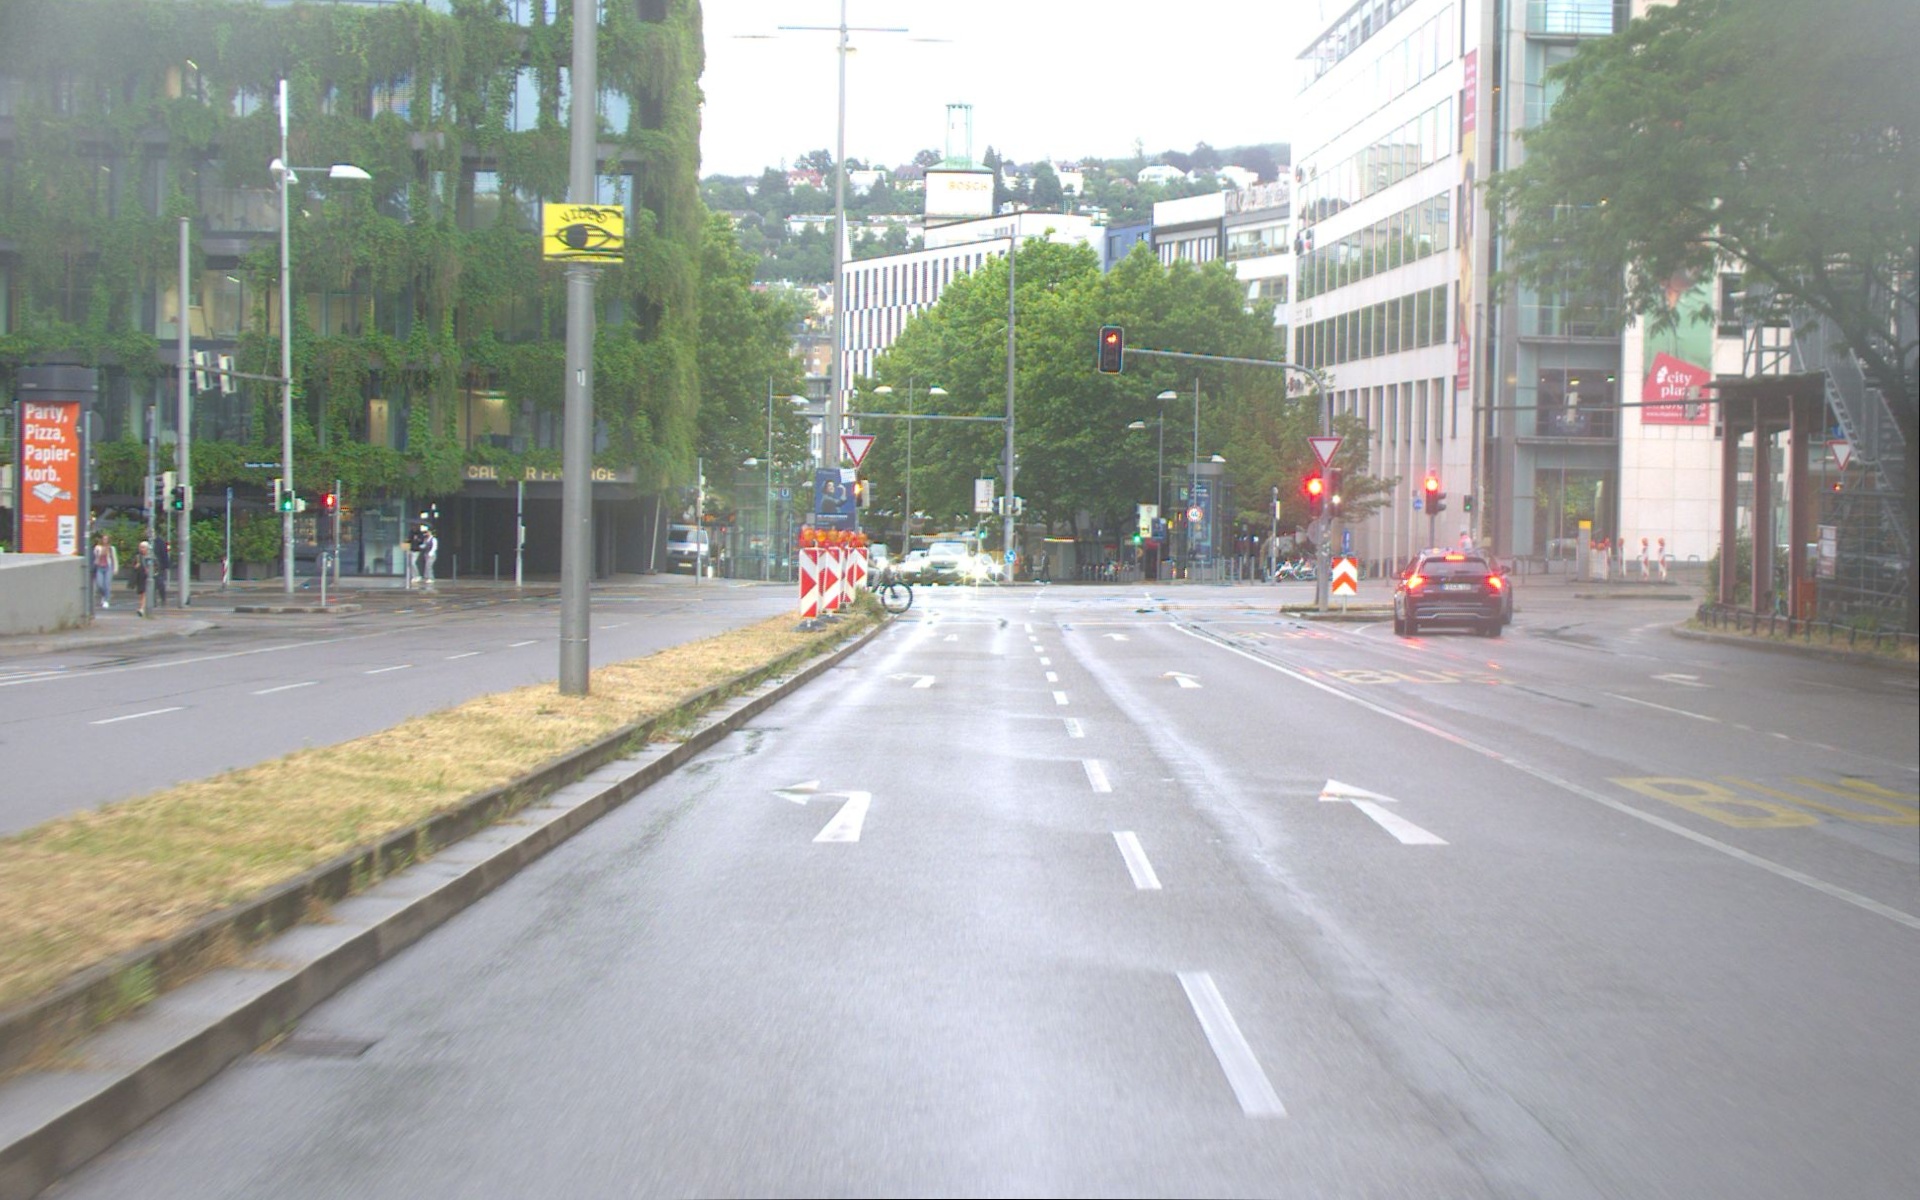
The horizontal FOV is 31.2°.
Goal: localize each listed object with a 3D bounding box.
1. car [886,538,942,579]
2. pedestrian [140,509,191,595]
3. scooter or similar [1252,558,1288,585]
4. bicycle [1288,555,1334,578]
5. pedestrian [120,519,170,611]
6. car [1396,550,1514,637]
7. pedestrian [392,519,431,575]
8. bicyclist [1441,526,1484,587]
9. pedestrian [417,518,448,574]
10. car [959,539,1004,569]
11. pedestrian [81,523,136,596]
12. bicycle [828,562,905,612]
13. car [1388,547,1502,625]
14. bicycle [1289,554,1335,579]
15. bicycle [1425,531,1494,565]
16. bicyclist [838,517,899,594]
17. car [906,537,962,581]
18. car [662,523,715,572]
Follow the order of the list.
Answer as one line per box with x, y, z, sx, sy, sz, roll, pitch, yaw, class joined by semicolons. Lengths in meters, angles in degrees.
-2.106;-1.912;156.240;2.175;1.817;4.645;0;1;-5;car
-17.975;-1.086;77.772;0.895;1.879;0.787;-4;1;-3;pedestrian
11.439;-1.051;126.958;0.556;1.003;1.824;0;1;-23;scooter or similar
14.027;-1.337;137.318;1.795;0.931;0.475;0;1;4;bicycle
-17.156;-0.748;72.361;0.805;1.879;0.866;-4;1;-5;pedestrian
9.096;-0.142;63.475;1.778;1.534;4.146;1;1;3;car
-17.173;-1.666;107.607;0.935;1.752;1.172;0;1;-23;pedestrian
16.403;-1.410;112.199;0.791;1.968;1.114;0;1;-39;bicyclist
-16.545;-1.685;107.746;0.741;1.752;0.976;0;1;-23;pedestrian
1.028;-2.243;166.355;1.993;1.439;4.556;0;1;-2;car
-19.266;-0.927;77.803;0.831;1.580;0.923;-3;1;6;pedestrian
-2.073;-0.301;76.863;0.846;1.099;2.150;1;1;25;bicycle
10.015;-0.311;70.718;1.705;1.524;4.423;1;1;16;car
13.369;-1.287;130.651;1.799;0.931;0.474;1;1;42;bicycle
16.318;-1.702;112.337;0.791;1.113;2.255;0;1;-39;bicycle
-2.047;-1.005;76.871;0.846;1.698;1.297;1;1;26;bicyclist
-0.961;-1.496;125.014;1.993;1.545;4.556;0;1;-1;car
-10.680;-2.085;135.344;1.993;1.888;4.466;0;1;-3;car
